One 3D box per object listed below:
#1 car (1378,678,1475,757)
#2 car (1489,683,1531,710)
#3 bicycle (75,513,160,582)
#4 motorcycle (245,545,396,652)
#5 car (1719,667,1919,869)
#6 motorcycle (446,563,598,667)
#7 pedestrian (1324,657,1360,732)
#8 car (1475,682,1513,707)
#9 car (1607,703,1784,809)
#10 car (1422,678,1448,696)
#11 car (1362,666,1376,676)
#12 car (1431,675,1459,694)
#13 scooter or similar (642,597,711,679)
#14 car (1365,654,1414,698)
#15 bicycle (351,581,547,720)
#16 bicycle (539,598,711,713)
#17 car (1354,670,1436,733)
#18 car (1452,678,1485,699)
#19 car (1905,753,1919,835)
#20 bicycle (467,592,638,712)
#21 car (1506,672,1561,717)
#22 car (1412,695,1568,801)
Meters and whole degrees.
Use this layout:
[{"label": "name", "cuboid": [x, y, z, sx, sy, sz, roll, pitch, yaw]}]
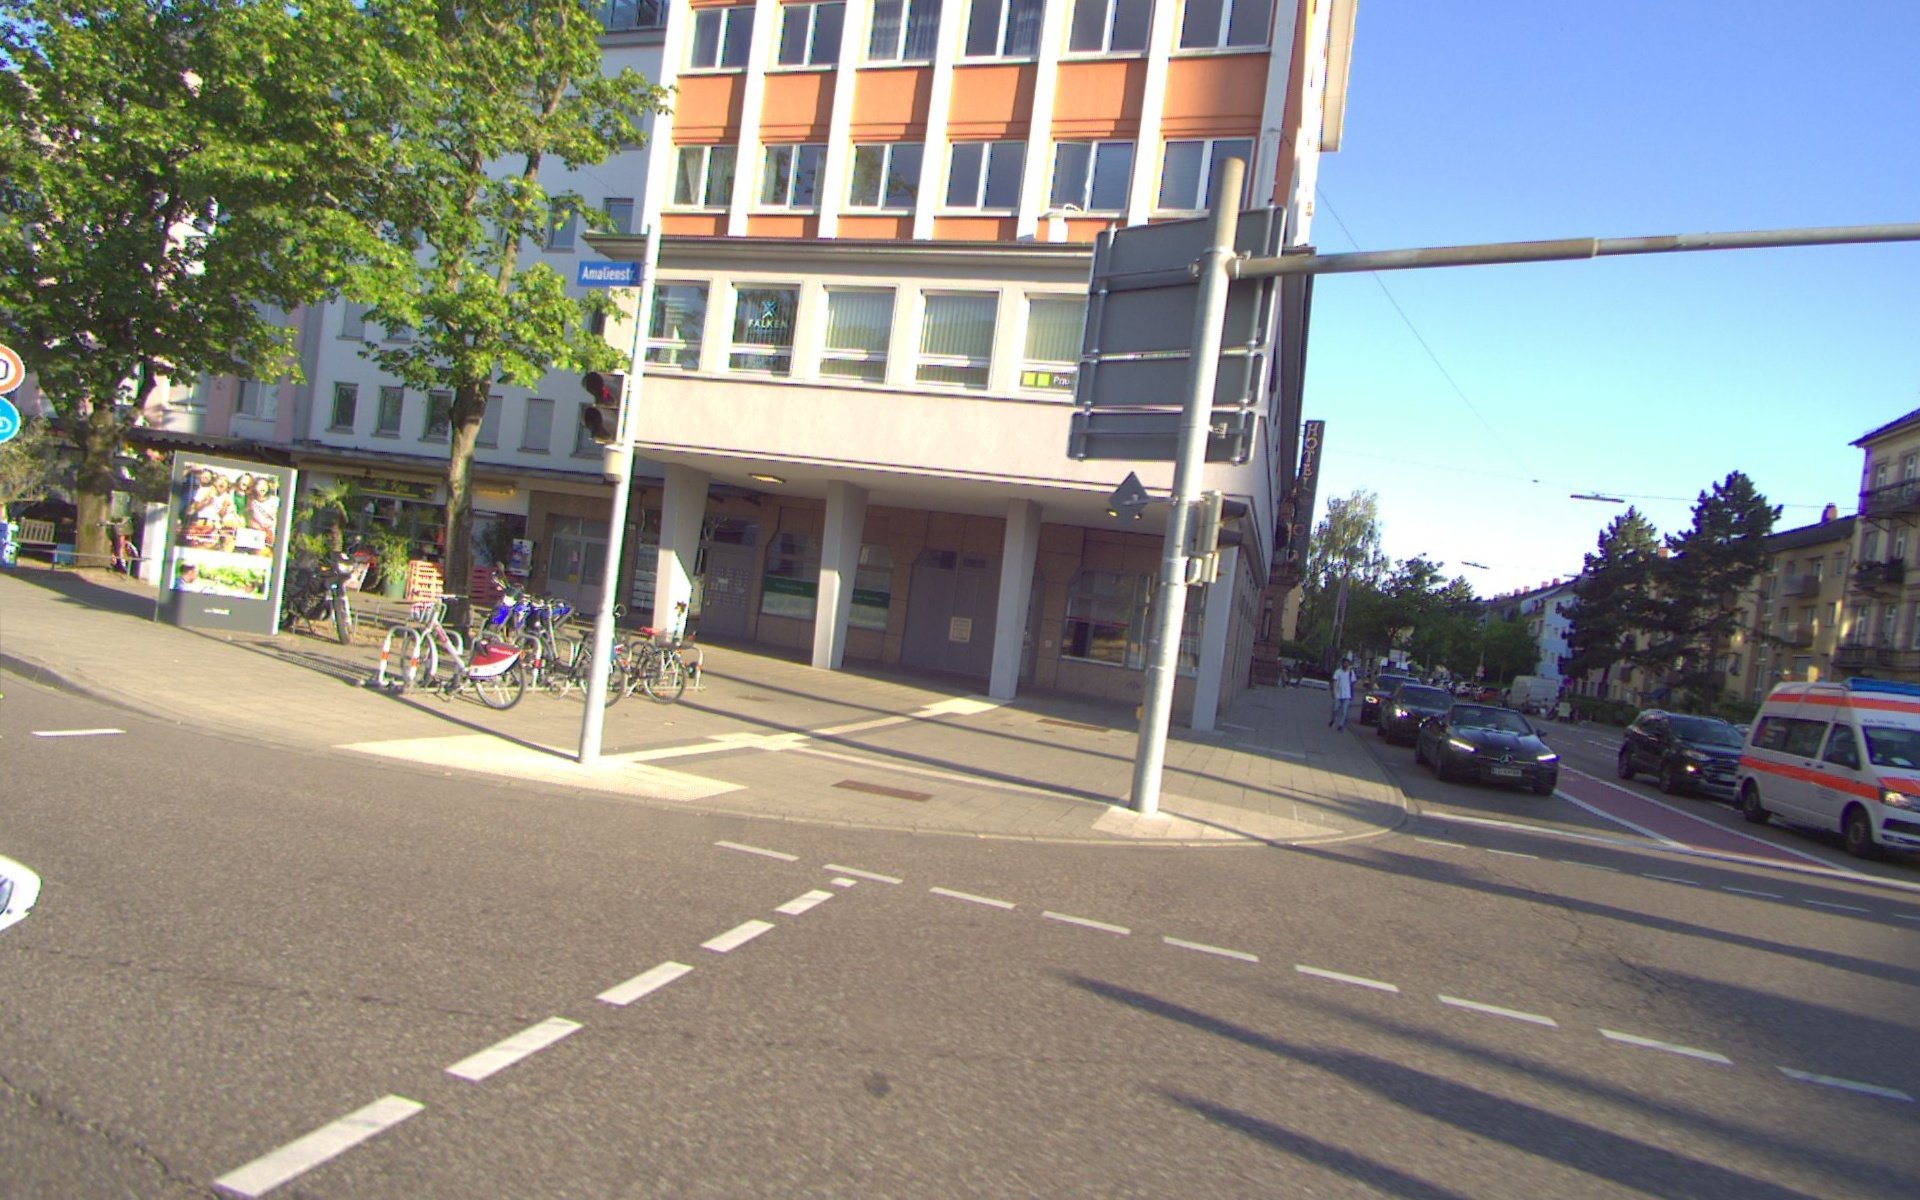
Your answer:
[{"label": "car", "cuboid": [11.827, 2.926, 25.723, 1.723, 1.528, 3.776, 8, -1, 20]}, {"label": "car", "cuboid": [42.440, 7.439, 77.666, 1.840, 1.615, 3.849, 8, -1, 16]}, {"label": "bicycle", "cuboid": [-17.164, -1.071, 20.484, 1.723, 1.172, 0.421, 8, 1, 20]}, {"label": "motorcycle", "cuboid": [-9.313, -0.032, 14.629, 2.161, 1.257, 0.668, 7, 0, 24]}, {"label": "car", "cuboid": [13.734, 2.398, 15.047, 1.889, 2.512, 5.270, 8, -1, 18]}, {"label": "motorcycle", "cuboid": [-6.802, 0.277, 15.753, 0.747, 1.423, 2.049, 8, 0, 26]}, {"label": "pedestrian", "cuboid": [9.654, 2.379, 25.447, 0.628, 1.778, 0.819, 8, 1, 20]}, {"label": "car", "cuboid": [44.210, 7.815, 83.398, 1.840, 1.615, 3.849, 8, -1, 16]}, {"label": "car", "cuboid": [15.365, 3.191, 21.279, 1.567, 1.590, 4.087, 8, -1, 17]}, {"label": "car", "cuboid": [53.220, 9.745, 112.686, 1.840, 1.615, 3.849, 8, -1, 16]}, {"label": "car", "cuboid": [81.797, 14.171, 201.189, 1.840, 1.615, 3.849, 8, -1, 16]}, {"label": "car", "cuboid": [51.380, 8.918, 106.695, 1.840, 1.615, 3.849, 8, -1, 16]}, {"label": "scooter or similar", "cuboid": [-4.939, 0.659, 17.514, 1.165, 1.269, 0.415, 7, 0, 38]}, {"label": "car", "cuboid": [28.480, 4.981, 66.899, 2.085, 2.553, 6.434, 8, 0, 17]}, {"label": "bicycle", "cuboid": [-5.375, 0.515, 10.576, 1.839, 1.140, 0.647, 8, 1, 20]}, {"label": "bicycle", "cuboid": [-4.457, 0.719, 13.358, 2.084, 1.172, 0.647, 8, 1, 20]}, {"label": "car", "cuboid": [13.932, 3.209, 32.419, 1.963, 1.593, 4.001, 8, -1, 20]}, {"label": "car", "cuboid": [47.654, 8.252, 94.280, 1.840, 1.615, 3.849, 8, -1, 16]}, {"label": "car", "cuboid": [16.970, 3.377, 15.549, 1.772, 1.393, 4.001, 7, -1, 18]}, {"label": "bicycle", "cuboid": [-4.917, 0.613, 12.134, 1.839, 1.140, 0.647, 8, 1, 20]}, {"label": "car", "cuboid": [41.026, 6.701, 72.066, 2.051, 2.754, 4.550, 8, 0, 16]}, {"label": "car", "cuboid": [9.863, 2.671, 19.090, 1.805, 1.357, 4.678, 8, -1, 19]}]
